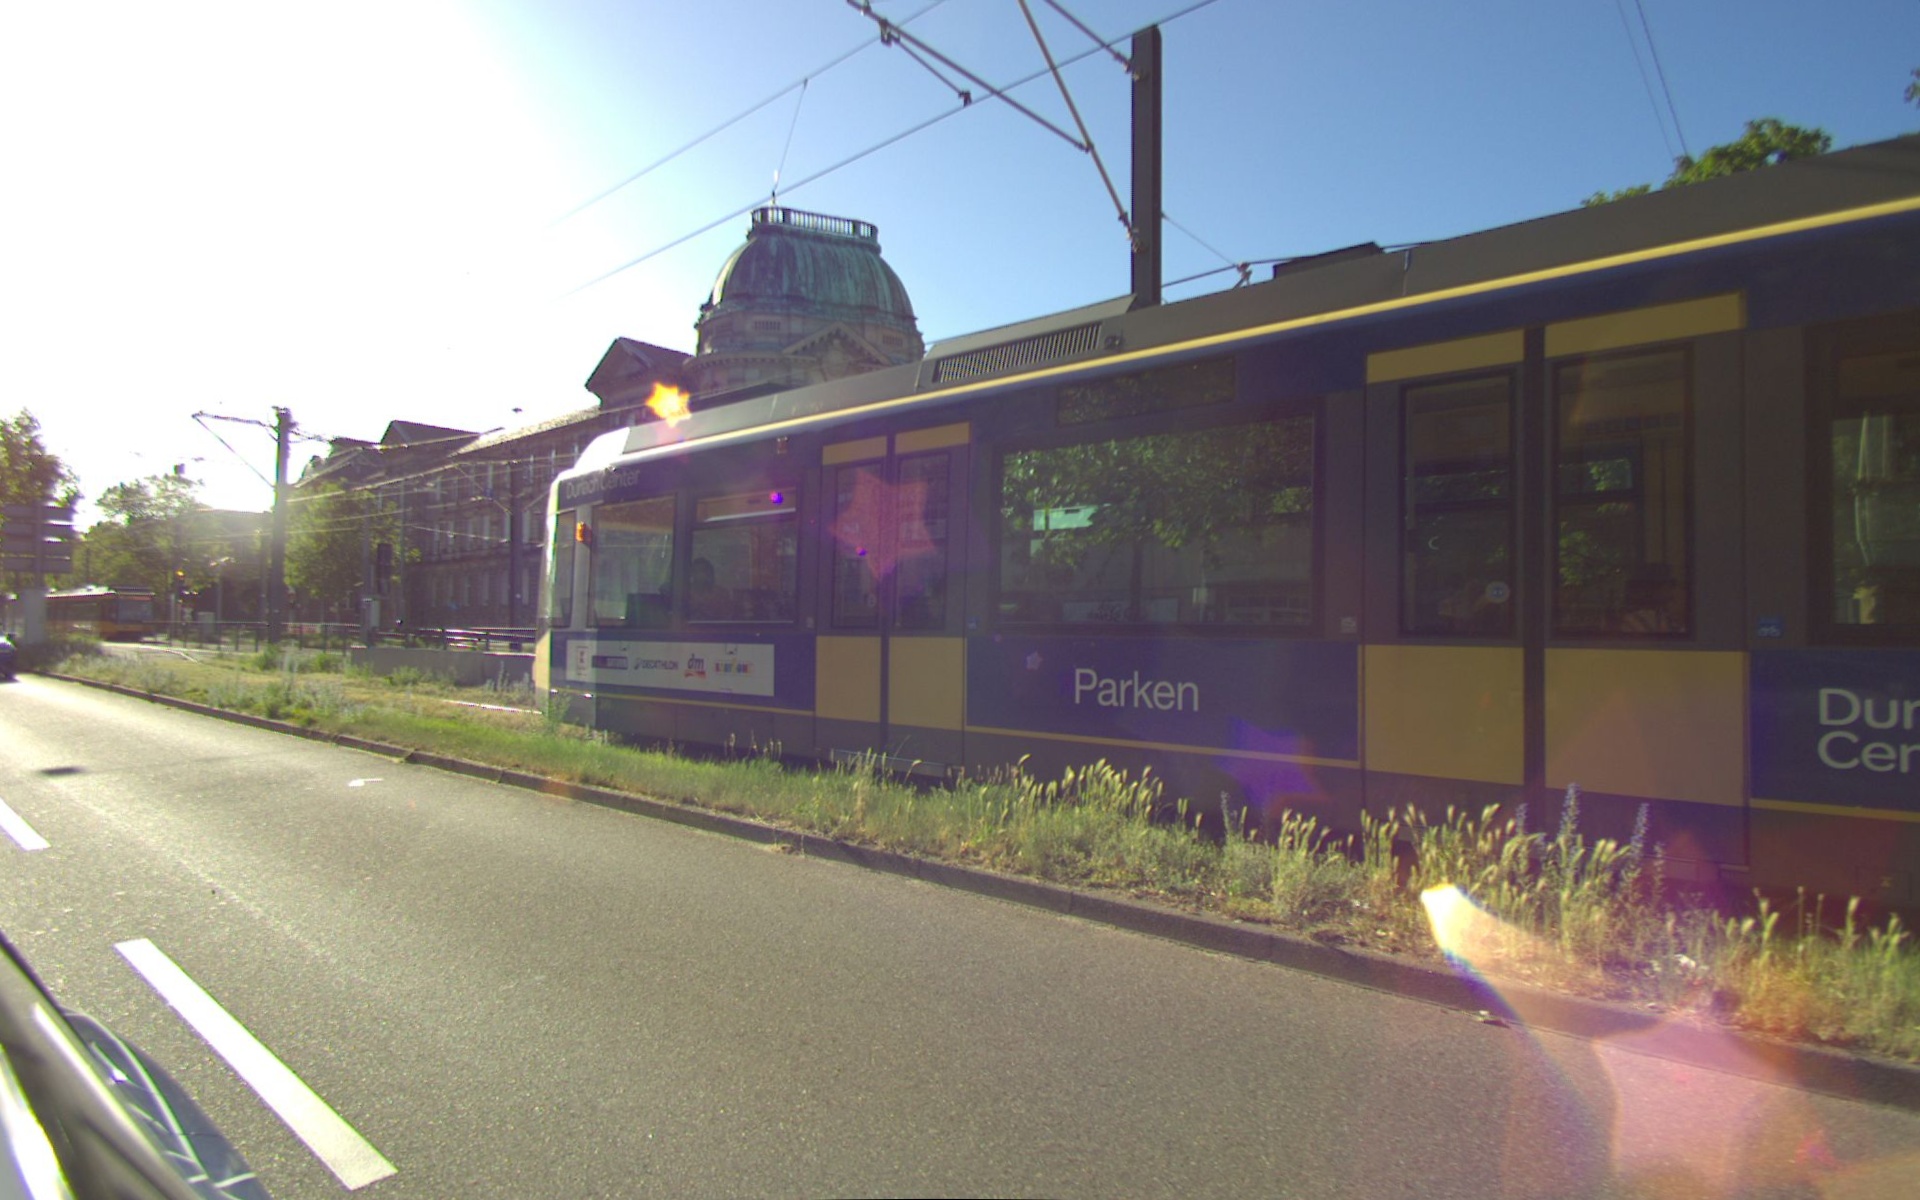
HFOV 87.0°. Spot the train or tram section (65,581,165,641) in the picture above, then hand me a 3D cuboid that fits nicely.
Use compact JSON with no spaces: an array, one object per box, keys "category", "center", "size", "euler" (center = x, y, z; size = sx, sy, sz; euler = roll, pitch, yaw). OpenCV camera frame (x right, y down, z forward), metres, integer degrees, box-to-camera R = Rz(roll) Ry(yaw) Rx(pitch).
[{"category":"train or tram section","center":[-53.767,0.743,64.251],"size":[11.277,3.510,2.931],"euler":[-1,-1,40]}]

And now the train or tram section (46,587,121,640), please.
[{"category":"train or tram section","center":[-60.499,0.919,69.848],"size":[6.053,3.510,2.927],"euler":[-1,-1,39]}]

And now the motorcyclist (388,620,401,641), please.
[{"category":"motorcyclist","center":[-35.743,1.916,63.969],"size":[0.692,1.267,0.508],"euler":[-1,0,45]}]

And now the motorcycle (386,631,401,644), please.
[{"category":"motorcycle","center":[-35.842,2.342,64.054],"size":[1.522,0.789,0.364],"euler":[-1,0,43]}]

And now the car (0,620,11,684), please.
[{"category":"car","center":[-23.859,1.233,23.925],"size":[3.868,1.459,1.754],"euler":[-1,0,42]}]

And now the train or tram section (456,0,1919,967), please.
[{"category":"train or tram section","center":[0.718,-0.558,7.870],"size":[14.262,3.841,2.899],"euler":[-1,0,40]}]
